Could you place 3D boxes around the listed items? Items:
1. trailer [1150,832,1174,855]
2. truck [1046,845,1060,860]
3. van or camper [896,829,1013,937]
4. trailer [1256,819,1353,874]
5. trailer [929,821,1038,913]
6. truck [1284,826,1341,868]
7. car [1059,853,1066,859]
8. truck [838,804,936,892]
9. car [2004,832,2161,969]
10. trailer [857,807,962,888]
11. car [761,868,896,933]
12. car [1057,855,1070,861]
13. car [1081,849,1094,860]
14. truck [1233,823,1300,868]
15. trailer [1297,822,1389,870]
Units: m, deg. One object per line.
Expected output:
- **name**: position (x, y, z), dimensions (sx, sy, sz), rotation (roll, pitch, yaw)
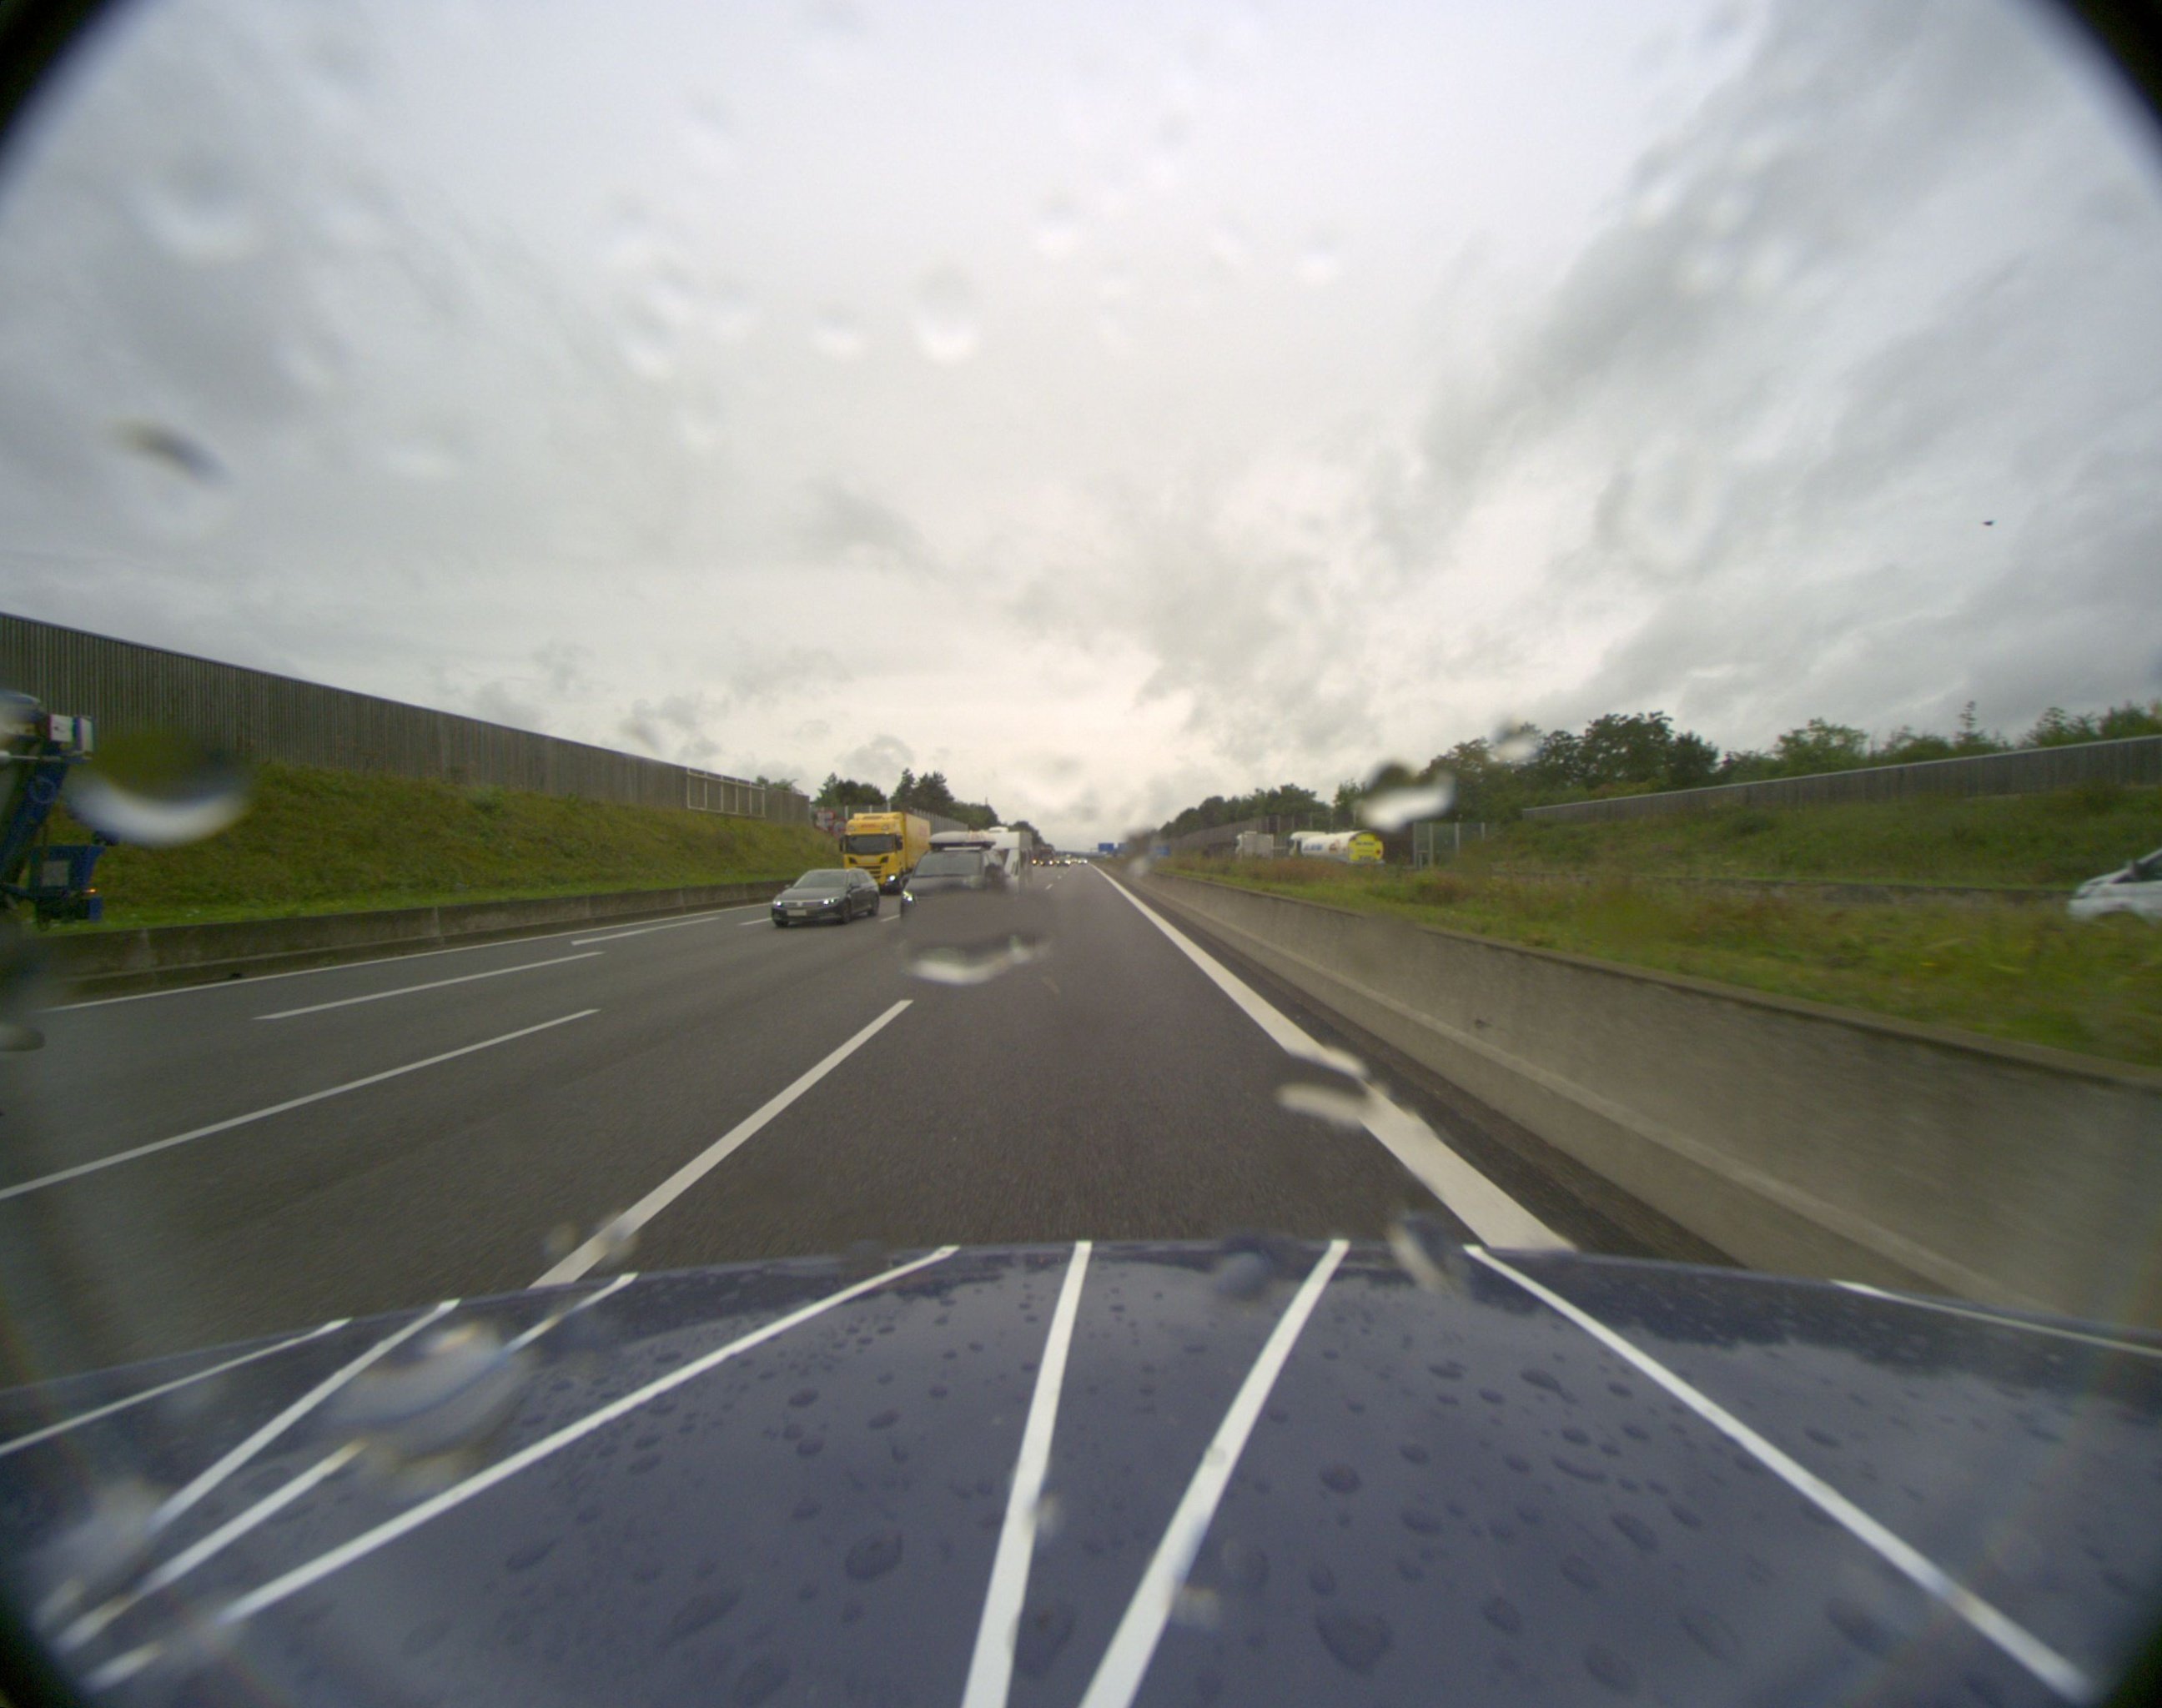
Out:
- **trailer**: position (17.721, -2.243, 166.772), dimensions (3.225, 4.857, 13.524), rotation (-3, 0, -1)
- **truck**: position (-5.864, -0.303, 159.798), dimensions (2.617, 3.218, 4.632), rotation (-1, 0, 0)
- **van or camper**: position (-2.946, 0.624, 19.016), dimensions (1.895, 2.256, 5.679), rotation (-2, 0, 0)
- **trailer**: position (13.716, -0.473, 47.749), dimensions (2.963, 2.942, 10.568), rotation (-3, 0, 1)
- **trailer**: position (-3.028, 0.377, 25.639), dimensions (2.728, 2.627, 7.511), rotation (-1, 0, 0)
- **truck**: position (17.973, -0.535, 59.310), dimensions (2.628, 3.002, 5.612), rotation (-3, 1, 0)
- **car**: position (-5.651, 0.497, 228.512), dimensions (1.998, 1.747, 4.000), rotation (-1, 0, 0)
- **truck**: position (-9.797, -0.288, 39.623), dimensions (2.693, 3.935, 9.324), rotation (-3, 0, -1)
- **car**: position (16.847, 0.676, 10.116), dimensions (1.911, 2.002, 5.953), rotation (-2, 0, 1)
- **trailer**: position (-9.865, -0.355, 46.281), dimensions (2.658, 3.930, 16.683), rotation (-3, 0, -1)
- **car**: position (-6.871, 1.196, 21.369), dimensions (1.944, 1.419, 5.289), rotation (-3, 0, 0)
- **car**: position (-2.988, 0.685, 132.009), dimensions (2.061, 1.020, 3.438), rotation (-3, 0, 0)
- **car**: position (1.415, 0.144, 170.944), dimensions (2.680, 2.340, 5.807), rotation (-1, 0, -2)
- **truck**: position (13.827, -0.605, 57.446), dimensions (2.963, 3.049, 8.727), rotation (-3, 0, 1)
- **trailer**: position (18.018, -0.531, 53.242), dimensions (2.618, 2.971, 10.796), rotation (-2, 0, 0)
